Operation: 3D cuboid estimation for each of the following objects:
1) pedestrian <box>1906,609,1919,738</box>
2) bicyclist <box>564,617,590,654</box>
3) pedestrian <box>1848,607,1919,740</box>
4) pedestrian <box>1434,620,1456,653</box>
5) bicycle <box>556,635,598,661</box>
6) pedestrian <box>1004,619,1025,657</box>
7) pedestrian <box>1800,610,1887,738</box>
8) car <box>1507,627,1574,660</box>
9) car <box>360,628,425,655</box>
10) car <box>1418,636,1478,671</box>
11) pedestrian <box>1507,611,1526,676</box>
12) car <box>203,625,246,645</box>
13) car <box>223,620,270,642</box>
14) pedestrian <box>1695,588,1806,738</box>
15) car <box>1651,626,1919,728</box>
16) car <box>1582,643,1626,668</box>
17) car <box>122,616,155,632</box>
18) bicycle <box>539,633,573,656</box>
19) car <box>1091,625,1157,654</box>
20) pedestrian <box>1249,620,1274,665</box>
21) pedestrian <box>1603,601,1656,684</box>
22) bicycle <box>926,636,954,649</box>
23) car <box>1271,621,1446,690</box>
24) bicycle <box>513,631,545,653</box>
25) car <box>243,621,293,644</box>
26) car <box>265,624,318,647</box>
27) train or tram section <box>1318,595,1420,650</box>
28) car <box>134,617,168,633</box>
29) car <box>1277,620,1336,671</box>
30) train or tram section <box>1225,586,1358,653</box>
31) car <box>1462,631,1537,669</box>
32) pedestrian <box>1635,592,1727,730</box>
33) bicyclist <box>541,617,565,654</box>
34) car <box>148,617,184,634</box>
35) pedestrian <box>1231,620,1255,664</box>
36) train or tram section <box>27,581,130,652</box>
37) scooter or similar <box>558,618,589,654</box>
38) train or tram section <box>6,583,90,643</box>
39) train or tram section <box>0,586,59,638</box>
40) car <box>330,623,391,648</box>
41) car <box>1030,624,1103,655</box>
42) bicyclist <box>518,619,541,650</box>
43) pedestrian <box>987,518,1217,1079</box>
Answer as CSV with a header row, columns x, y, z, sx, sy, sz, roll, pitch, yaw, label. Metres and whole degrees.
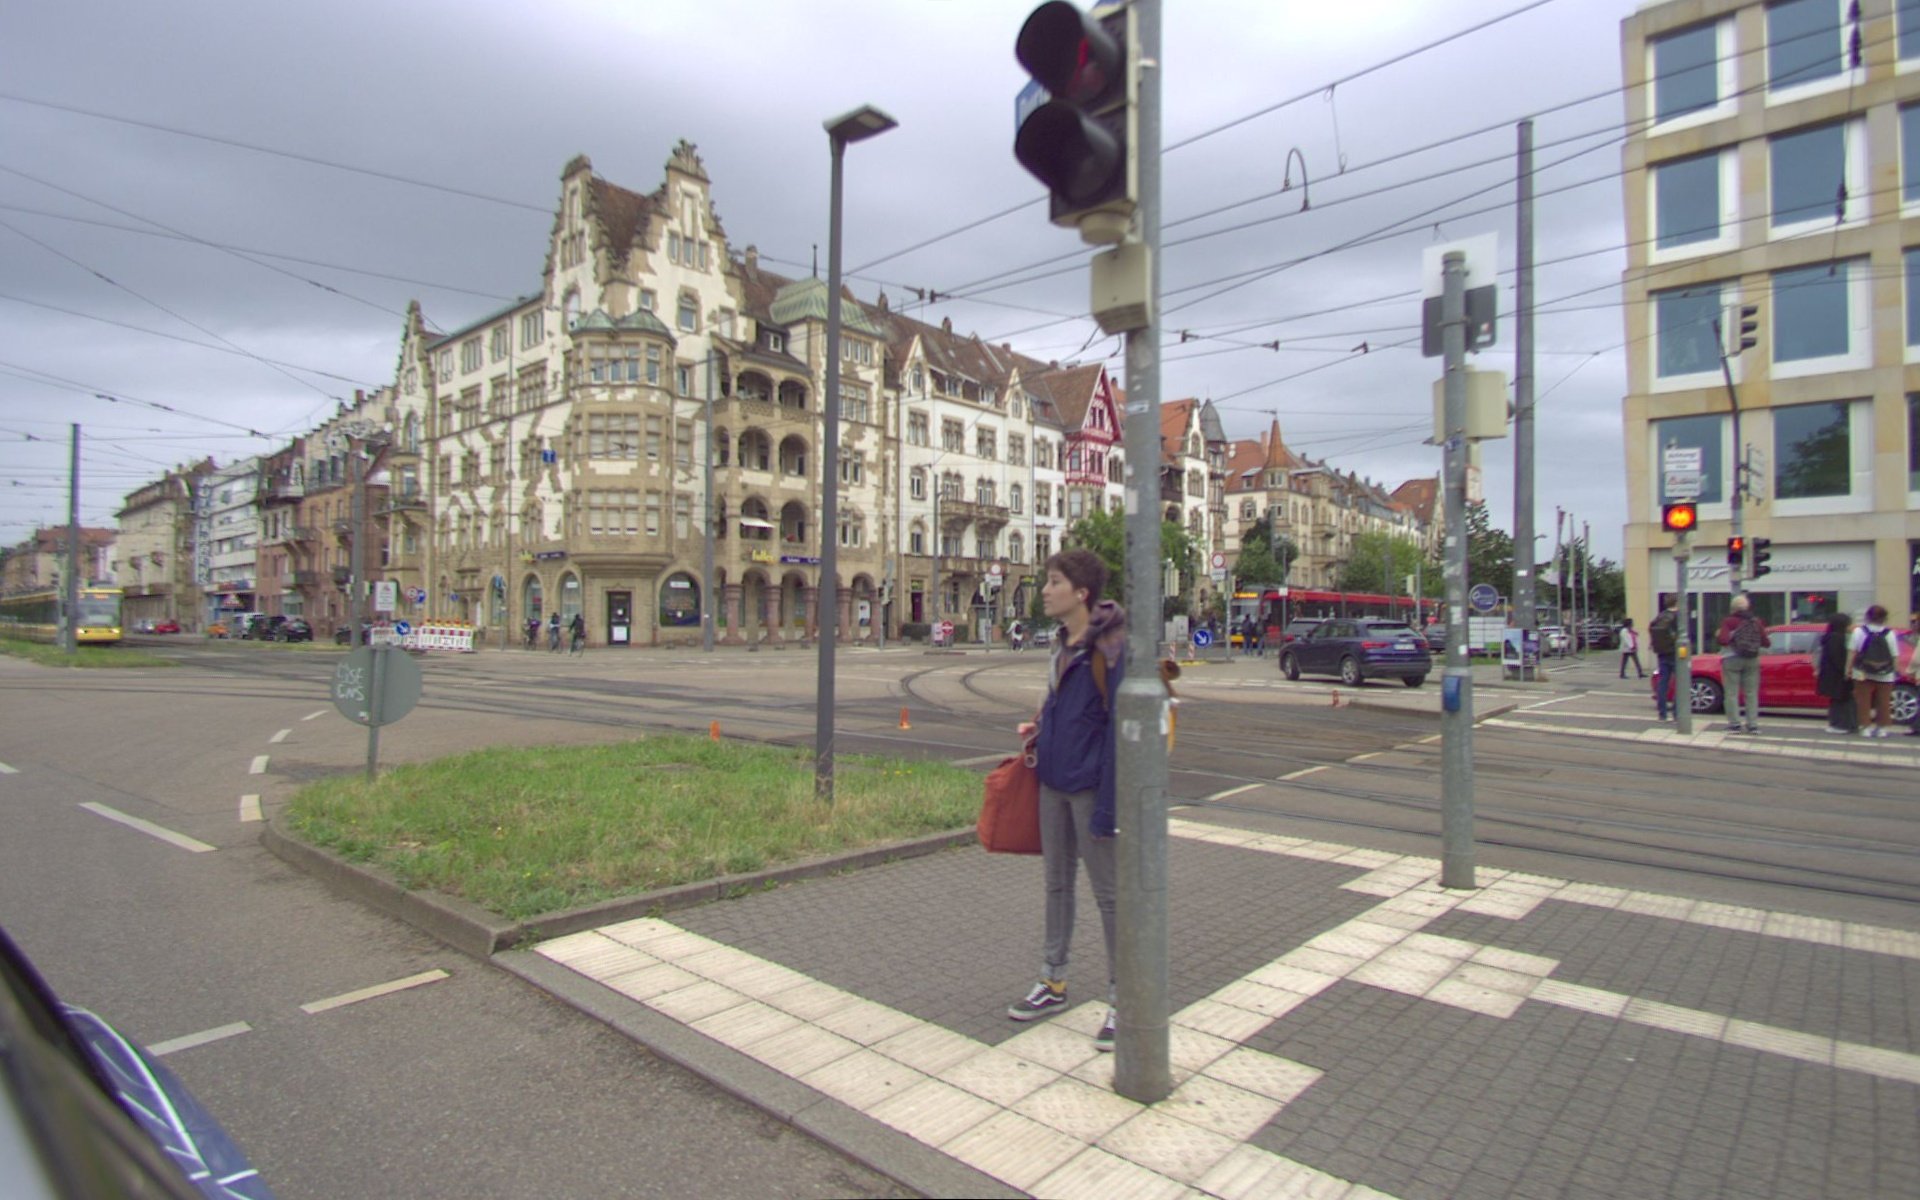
x,y,z,sx,sy,sz,roll,pitch,yaw,label
12.333,0.925,12.483,0.702,1.610,0.713,0,-1,16,pedestrian
-15.880,1.472,41.943,0.764,1.532,0.741,-3,-3,38,bicyclist
11.621,0.905,12.594,0.704,1.610,0.526,1,-1,-13,pedestrian
31.248,2.348,65.222,1.069,2.029,1.108,0,-2,40,pedestrian
-15.876,1.984,41.926,1.912,1.045,0.741,-3,-3,38,bicycle
2.458,1.703,45.300,0.704,1.699,0.600,0,-2,40,pedestrian
11.447,0.948,13.117,0.704,1.610,0.526,1,-1,-13,pedestrian
25.918,1.908,45.153,1.796,1.431,3.650,-1,-2,43,car
-33.171,2.378,59.089,3.996,1.453,1.974,0,-2,39,car
23.982,2.594,49.656,1.996,1.608,3.952,-1,-2,36,car
15.787,1.225,28.714,0.460,1.808,0.412,0,-2,32,pedestrian
-60.870,2.893,83.744,3.996,1.608,1.974,0,-2,39,car
-55.842,2.432,79.224,3.996,1.608,1.974,0,-2,39,car
10.275,0.806,13.179,0.736,1.882,0.856,1,-1,-7,pedestrian
13.369,1.154,16.087,3.767,1.460,1.720,-1,-2,41,car
39.210,3.337,61.605,1.722,1.431,3.248,-1,-2,43,car
-87.891,2.584,108.268,3.996,1.608,1.974,0,-2,39,car
-18.250,2.007,45.653,1.910,1.045,0.714,-3,-3,44,bicycle
9.319,2.225,57.294,1.800,1.522,3.942,0,-2,44,car
12.103,1.692,40.648,0.683,1.767,0.848,0,-2,37,pedestrian
16.900,1.061,25.551,0.997,2.029,1.032,0,-2,41,pedestrian
-1.178,2.495,59.660,1.803,0.744,0.554,0,-2,42,bicycle
9.463,1.287,24.473,1.715,1.505,4.378,1,-2,-13,car
-20.839,2.014,48.899,0.698,1.045,2.024,2,-3,-44,bicycle
-51.105,2.410,74.687,3.996,1.608,1.974,0,-2,39,car
-46.647,2.470,70.622,3.996,1.453,1.974,0,-2,39,car
28.672,1.618,70.393,2.601,3.540,13.929,0,-2,39,train or tram section
-83.961,2.594,105.041,3.996,1.608,1.974,0,-2,39,car
11.764,1.484,34.220,1.732,1.611,4.290,0,-2,21,car
19.818,1.210,59.555,2.601,3.540,13.929,0,-2,39,train or tram section
21.767,1.973,40.755,1.796,1.431,3.650,-1,-2,43,car
10.237,0.850,14.398,0.739,1.882,0.853,1,-1,8,pedestrian
-18.431,1.608,45.846,0.859,1.618,0.714,-3,-3,44,bicyclist
-79.091,2.523,100.836,3.996,1.608,1.974,0,-2,39,car
11.502,1.693,41.131,0.683,1.767,0.848,0,-2,37,pedestrian
-48.087,0.838,55.017,13.617,3.463,2.616,0,-2,43,train or tram section
-19.147,1.760,50.130,1.829,1.728,0.558,0,-2,40,scooter or similar
-58.052,0.813,64.256,13.617,3.463,2.616,0,-2,43,train or tram section
-68.114,0.864,73.448,13.617,3.463,2.616,0,-2,43,train or tram section
-36.842,2.156,62.209,3.996,1.453,1.974,0,-2,39,car
5.642,2.079,53.300,1.800,1.522,3.942,0,-2,44,car
-20.805,1.671,48.876,0.698,1.455,0.973,2,-3,-45,bicyclist
0.438,0.595,3.452,0.644,1.655,0.860,1,-1,0,pedestrian
